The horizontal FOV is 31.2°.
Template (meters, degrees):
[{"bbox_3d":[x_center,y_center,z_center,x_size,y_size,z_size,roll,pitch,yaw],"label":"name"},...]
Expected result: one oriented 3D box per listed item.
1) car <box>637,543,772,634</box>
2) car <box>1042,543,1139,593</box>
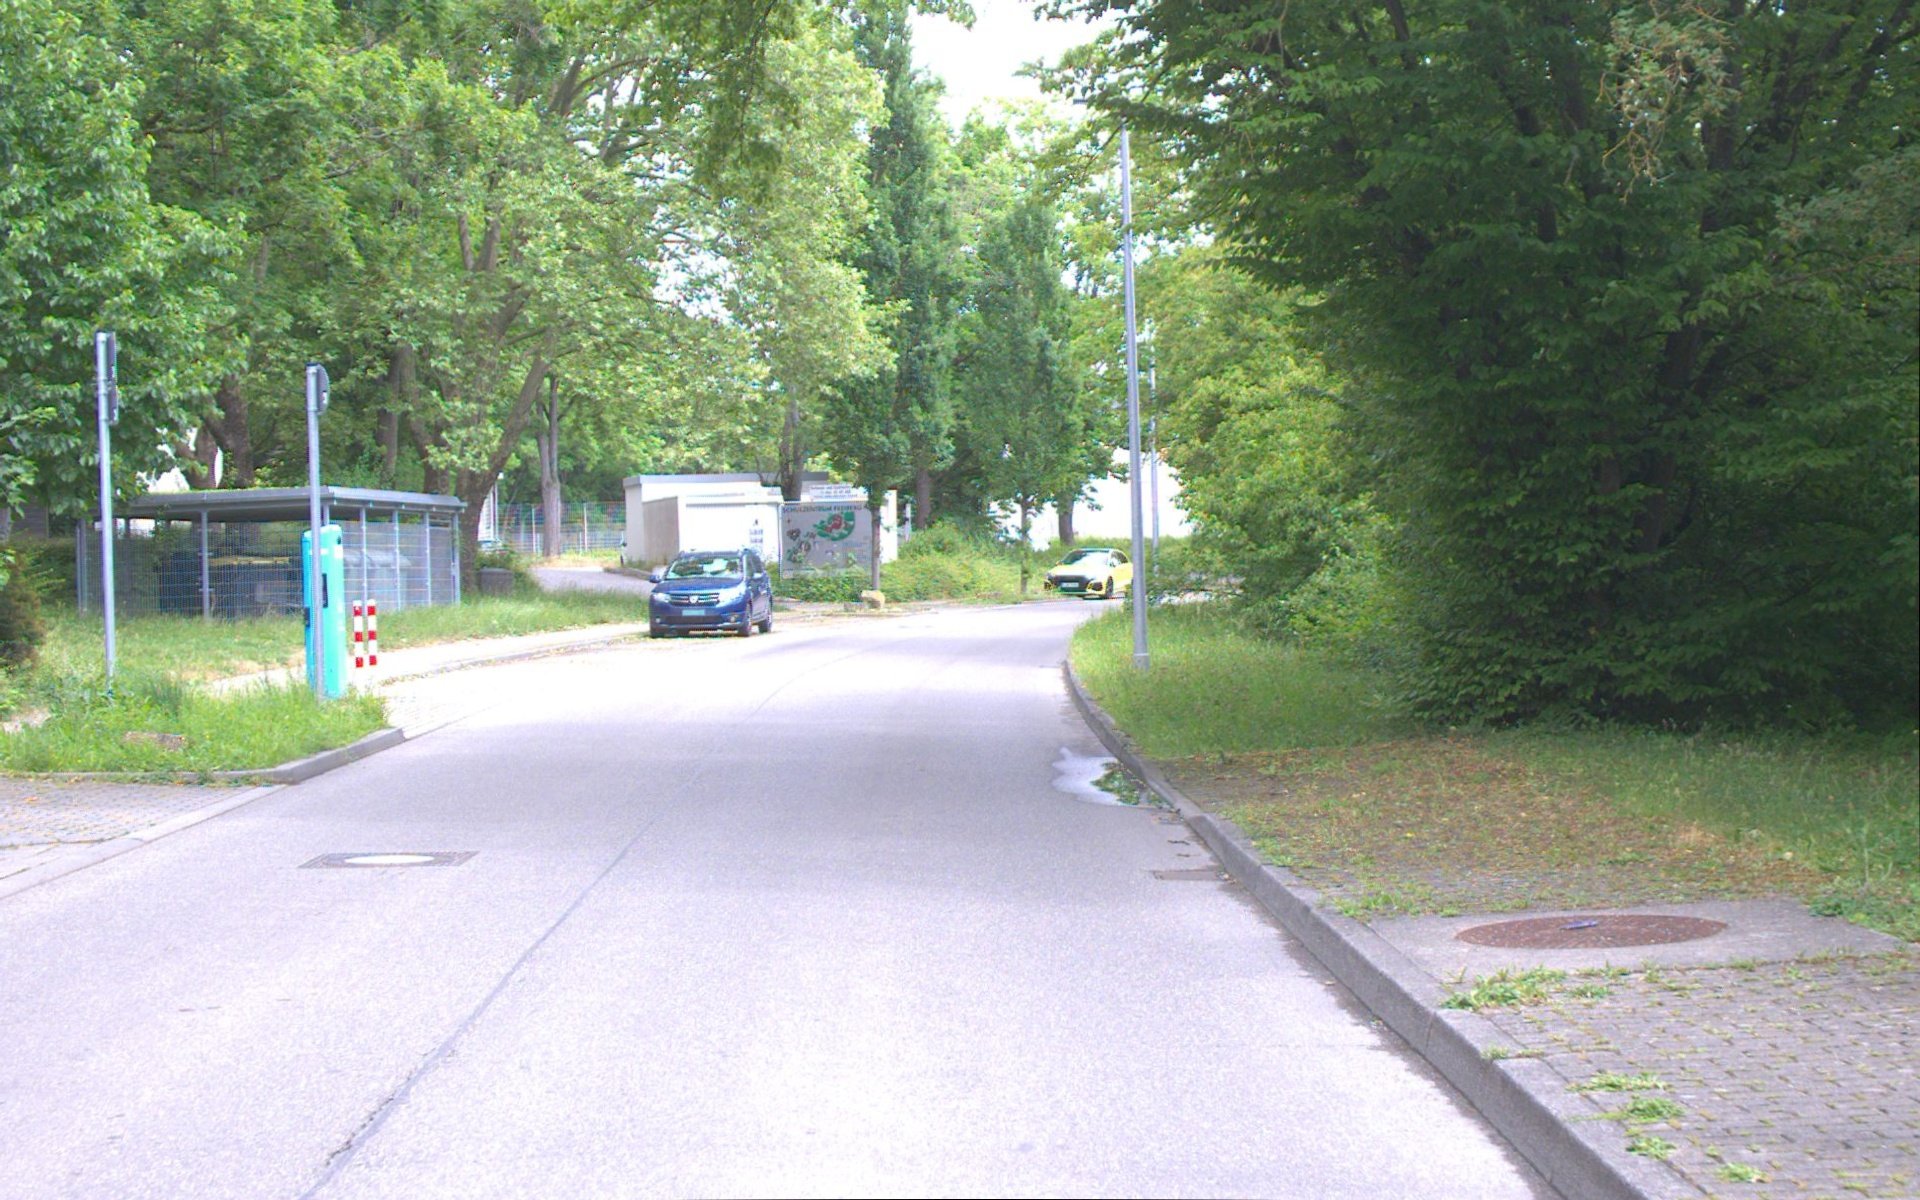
[{"bbox_3d":[-4.414,-0.220,59.963,1.680,1.506,4.430,-1,1,5],"label":"car"},{"bbox_3d":[3.715,-0.894,97.391,1.701,1.398,4.270,0,0,17],"label":"car"}]
